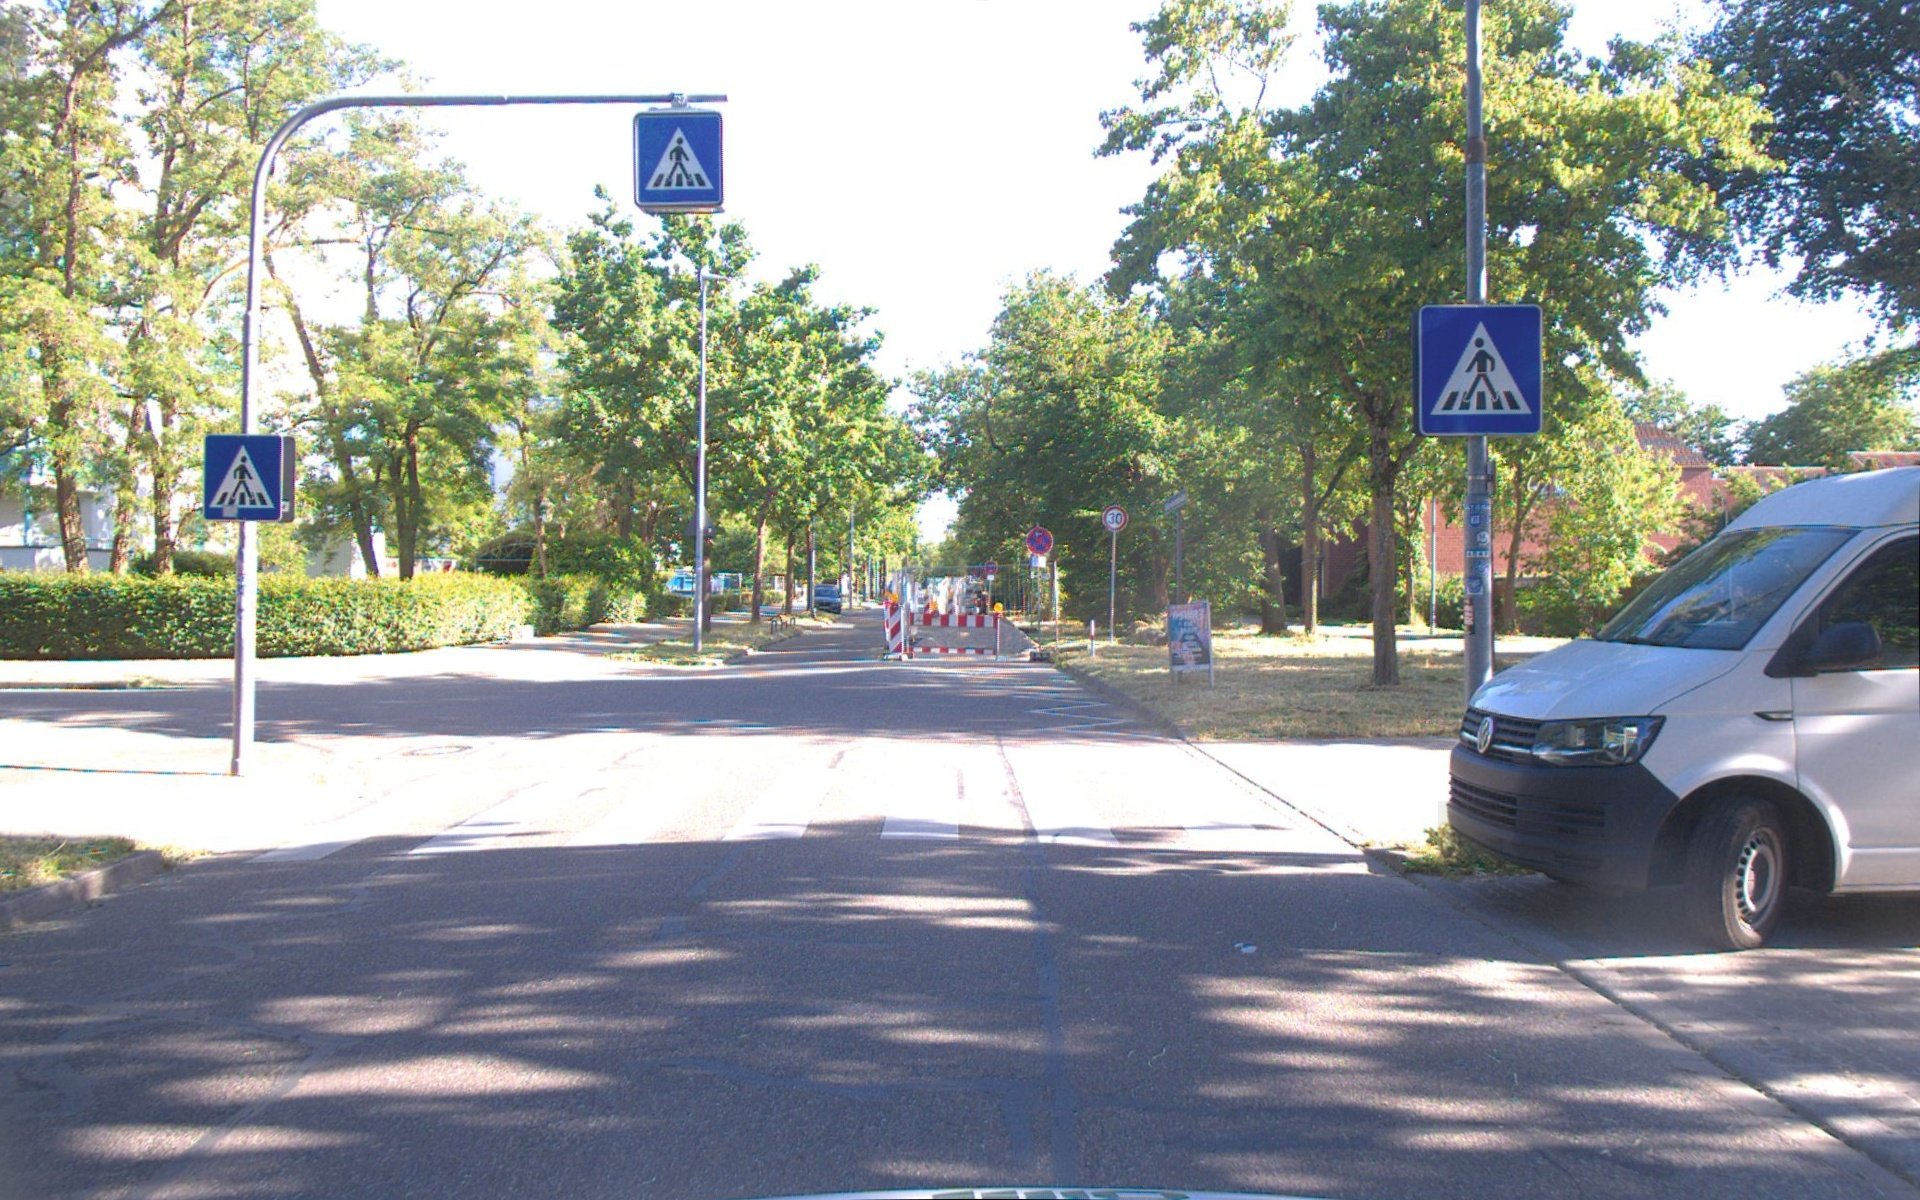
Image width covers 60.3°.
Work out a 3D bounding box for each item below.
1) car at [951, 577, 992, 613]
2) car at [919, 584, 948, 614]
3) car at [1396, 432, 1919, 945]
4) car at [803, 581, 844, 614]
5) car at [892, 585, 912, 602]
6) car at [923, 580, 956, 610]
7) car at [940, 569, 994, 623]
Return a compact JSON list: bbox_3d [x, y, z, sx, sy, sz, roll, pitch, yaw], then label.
[{"bbox_3d":[0.583,-0.269,84.770,1.953,1.746,3.999,1,0,-1],"label":"car"},{"bbox_3d":[-1.837,-0.106,114.297,1.953,2.003,3.999,1,0,-1],"label":"car"},{"bbox_3d":[4.958,0.354,8.082,5.083,2.142,2.081,0,0,-3],"label":"car"},{"bbox_3d":[-7.465,-0.155,90.736,1.953,1.746,3.999,1,0,-1],"label":"car"},{"bbox_3d":[-5.894,-0.670,168.340,1.953,1.746,3.999,0,0,-1],"label":"car"},{"bbox_3d":[-1.251,-0.293,100.490,1.953,1.746,3.999,1,0,-1],"label":"car"},{"bbox_3d":[0.243,-0.159,64.057,1.953,1.966,3.999,1,0,-1],"label":"car"}]
